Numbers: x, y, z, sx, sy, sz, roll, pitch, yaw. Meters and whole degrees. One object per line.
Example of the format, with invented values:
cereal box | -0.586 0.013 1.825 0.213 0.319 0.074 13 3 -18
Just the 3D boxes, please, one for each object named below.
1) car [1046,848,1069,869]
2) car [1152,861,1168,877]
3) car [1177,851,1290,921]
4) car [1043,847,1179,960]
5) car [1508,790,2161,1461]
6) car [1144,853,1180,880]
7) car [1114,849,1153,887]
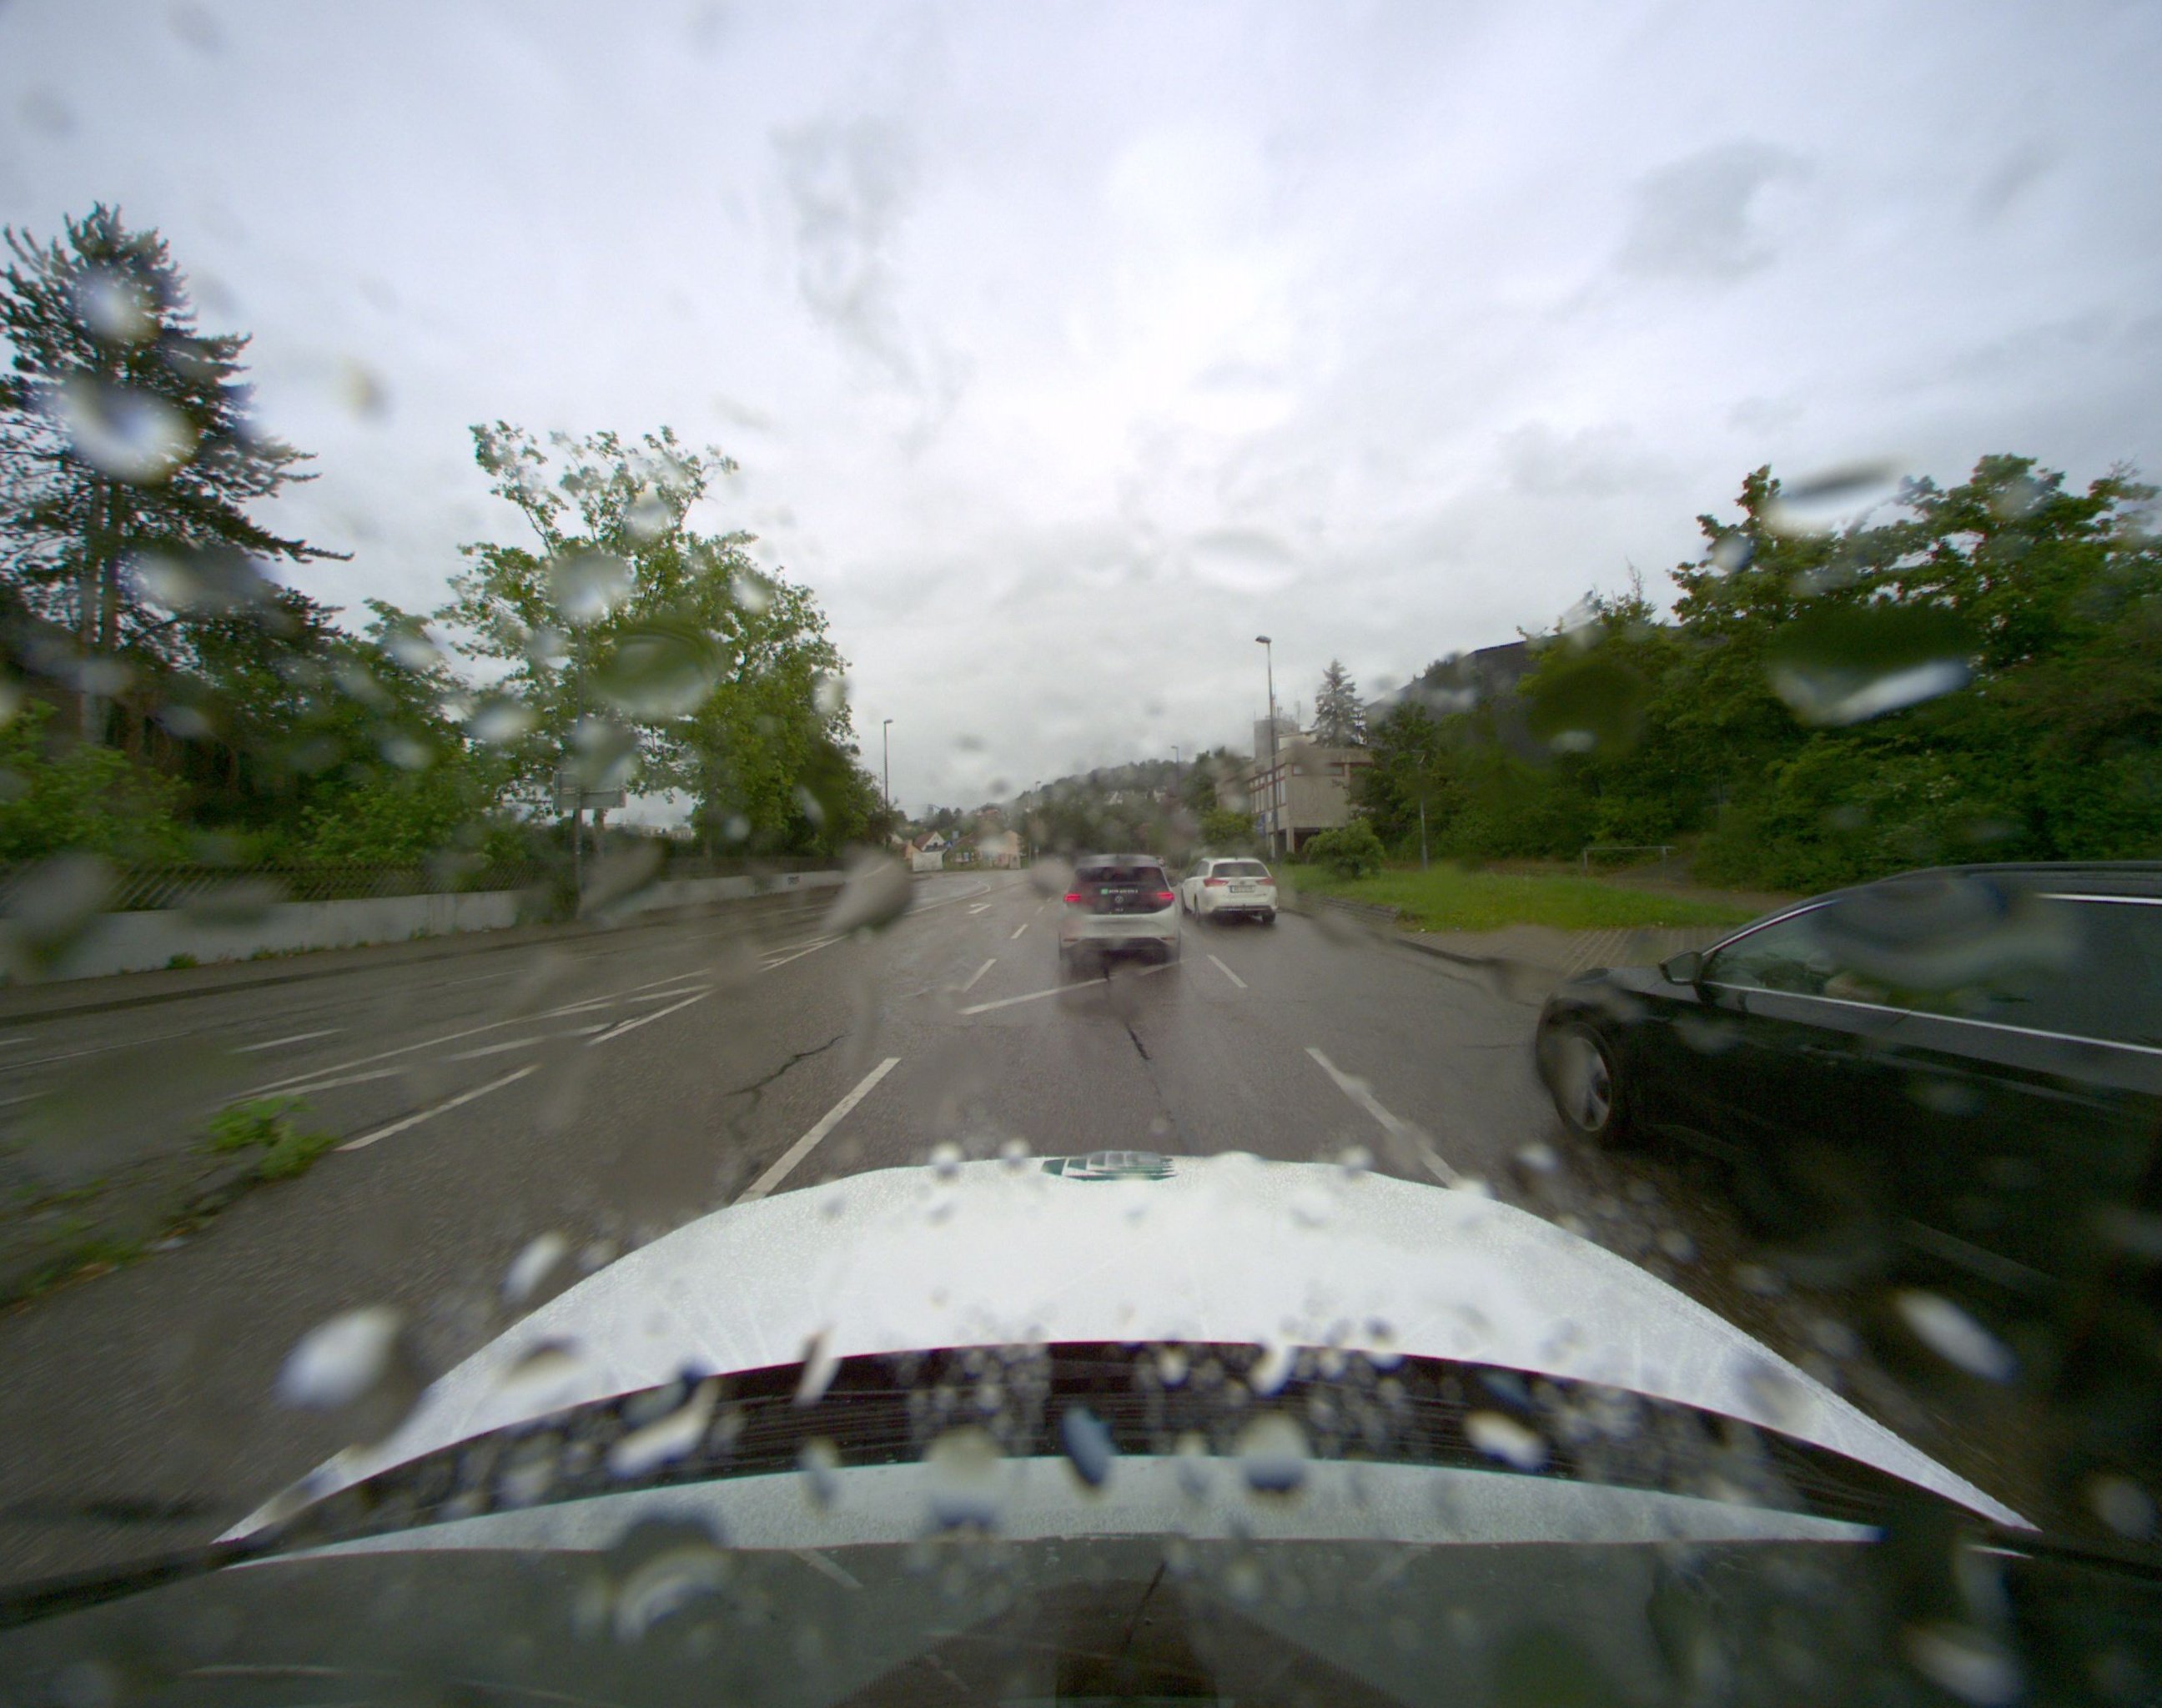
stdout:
car | -2.260 0.485 79.046 1.985 2.014 4.002 0 -1 3
car | 10.216 1.914 105.492 1.984 2.014 4.005 0 -1 5
car | 3.395 0.690 18.973 1.842 1.410 4.301 -1 -1 0
car | 0.575 0.704 13.102 1.820 1.500 4.173 -1 -1 5
car | 3.442 0.638 2.551 1.946 1.507 4.611 1 -1 2
car | 4.779 0.735 48.269 1.984 1.453 3.775 -4 -1 5
car | 2.232 0.565 35.399 1.561 1.530 4.002 -1 0 2
